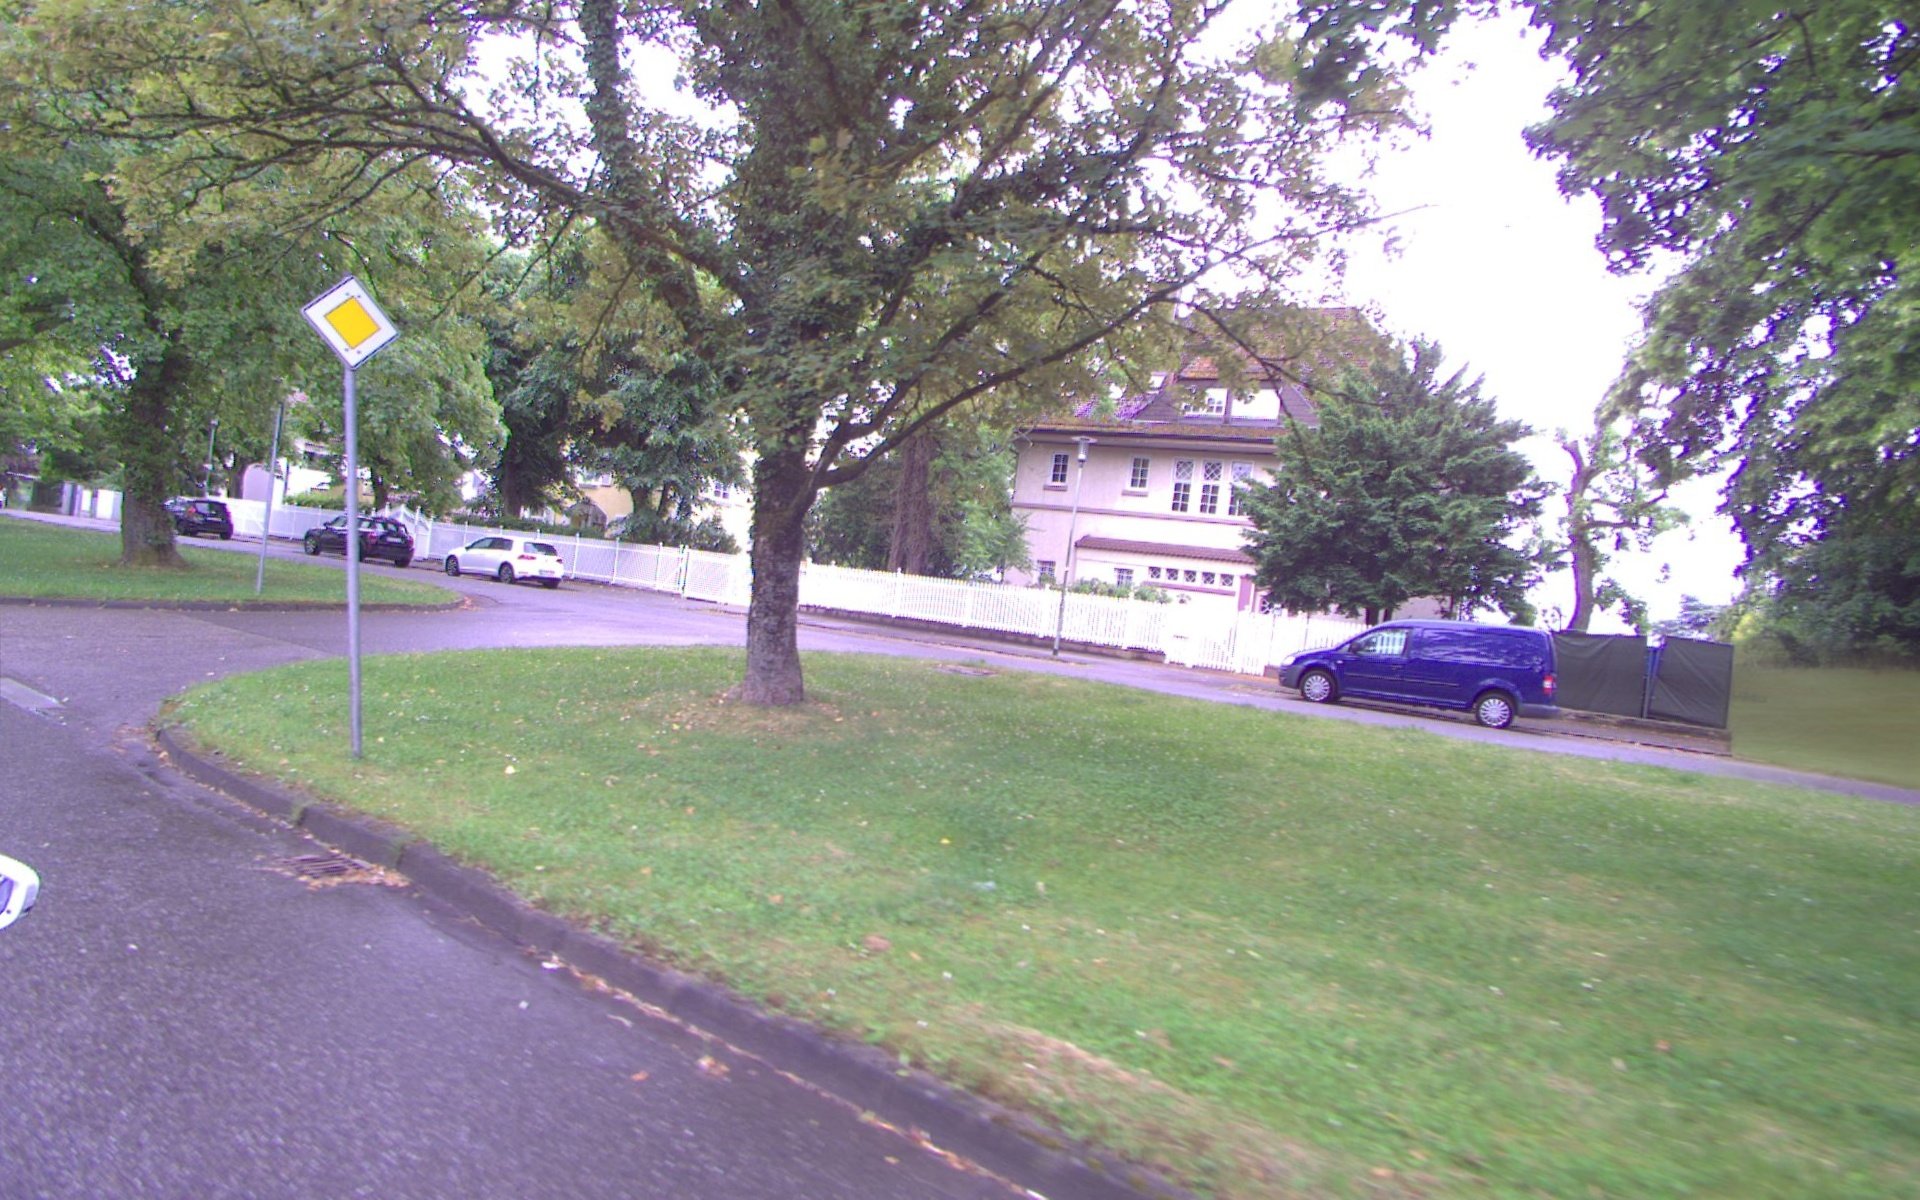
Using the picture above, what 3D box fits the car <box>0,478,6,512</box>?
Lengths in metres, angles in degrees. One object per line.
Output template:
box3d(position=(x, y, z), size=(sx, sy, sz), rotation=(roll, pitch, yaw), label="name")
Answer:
box3d(position=(-43.584, -4.790, 43.945), size=(3.934, 1.424, 1.804), rotation=(7, 2, 32), label="car")

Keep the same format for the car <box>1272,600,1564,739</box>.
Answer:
box3d(position=(8.450, 1.205, 18.758), size=(4.569, 1.833, 1.943), rotation=(7, 2, 30), label="car")

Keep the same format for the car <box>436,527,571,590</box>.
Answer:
box3d(position=(-14.119, -1.283, 31.082), size=(3.940, 1.428, 1.618), rotation=(7, 1, 28), label="car")

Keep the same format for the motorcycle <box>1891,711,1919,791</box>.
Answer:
box3d(position=(14.602, 2.300, 15.026), size=(1.876, 1.106, 0.651), rotation=(7, 1, -39), label="motorcycle")

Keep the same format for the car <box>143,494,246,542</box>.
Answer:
box3d(position=(-30.724, -3.298, 40.372), size=(4.042, 1.430, 1.804), rotation=(8, 1, 30), label="car")

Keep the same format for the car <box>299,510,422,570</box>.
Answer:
box3d(position=(-20.566, -2.071, 34.497), size=(4.042, 1.549, 1.804), rotation=(8, 1, 30), label="car")
